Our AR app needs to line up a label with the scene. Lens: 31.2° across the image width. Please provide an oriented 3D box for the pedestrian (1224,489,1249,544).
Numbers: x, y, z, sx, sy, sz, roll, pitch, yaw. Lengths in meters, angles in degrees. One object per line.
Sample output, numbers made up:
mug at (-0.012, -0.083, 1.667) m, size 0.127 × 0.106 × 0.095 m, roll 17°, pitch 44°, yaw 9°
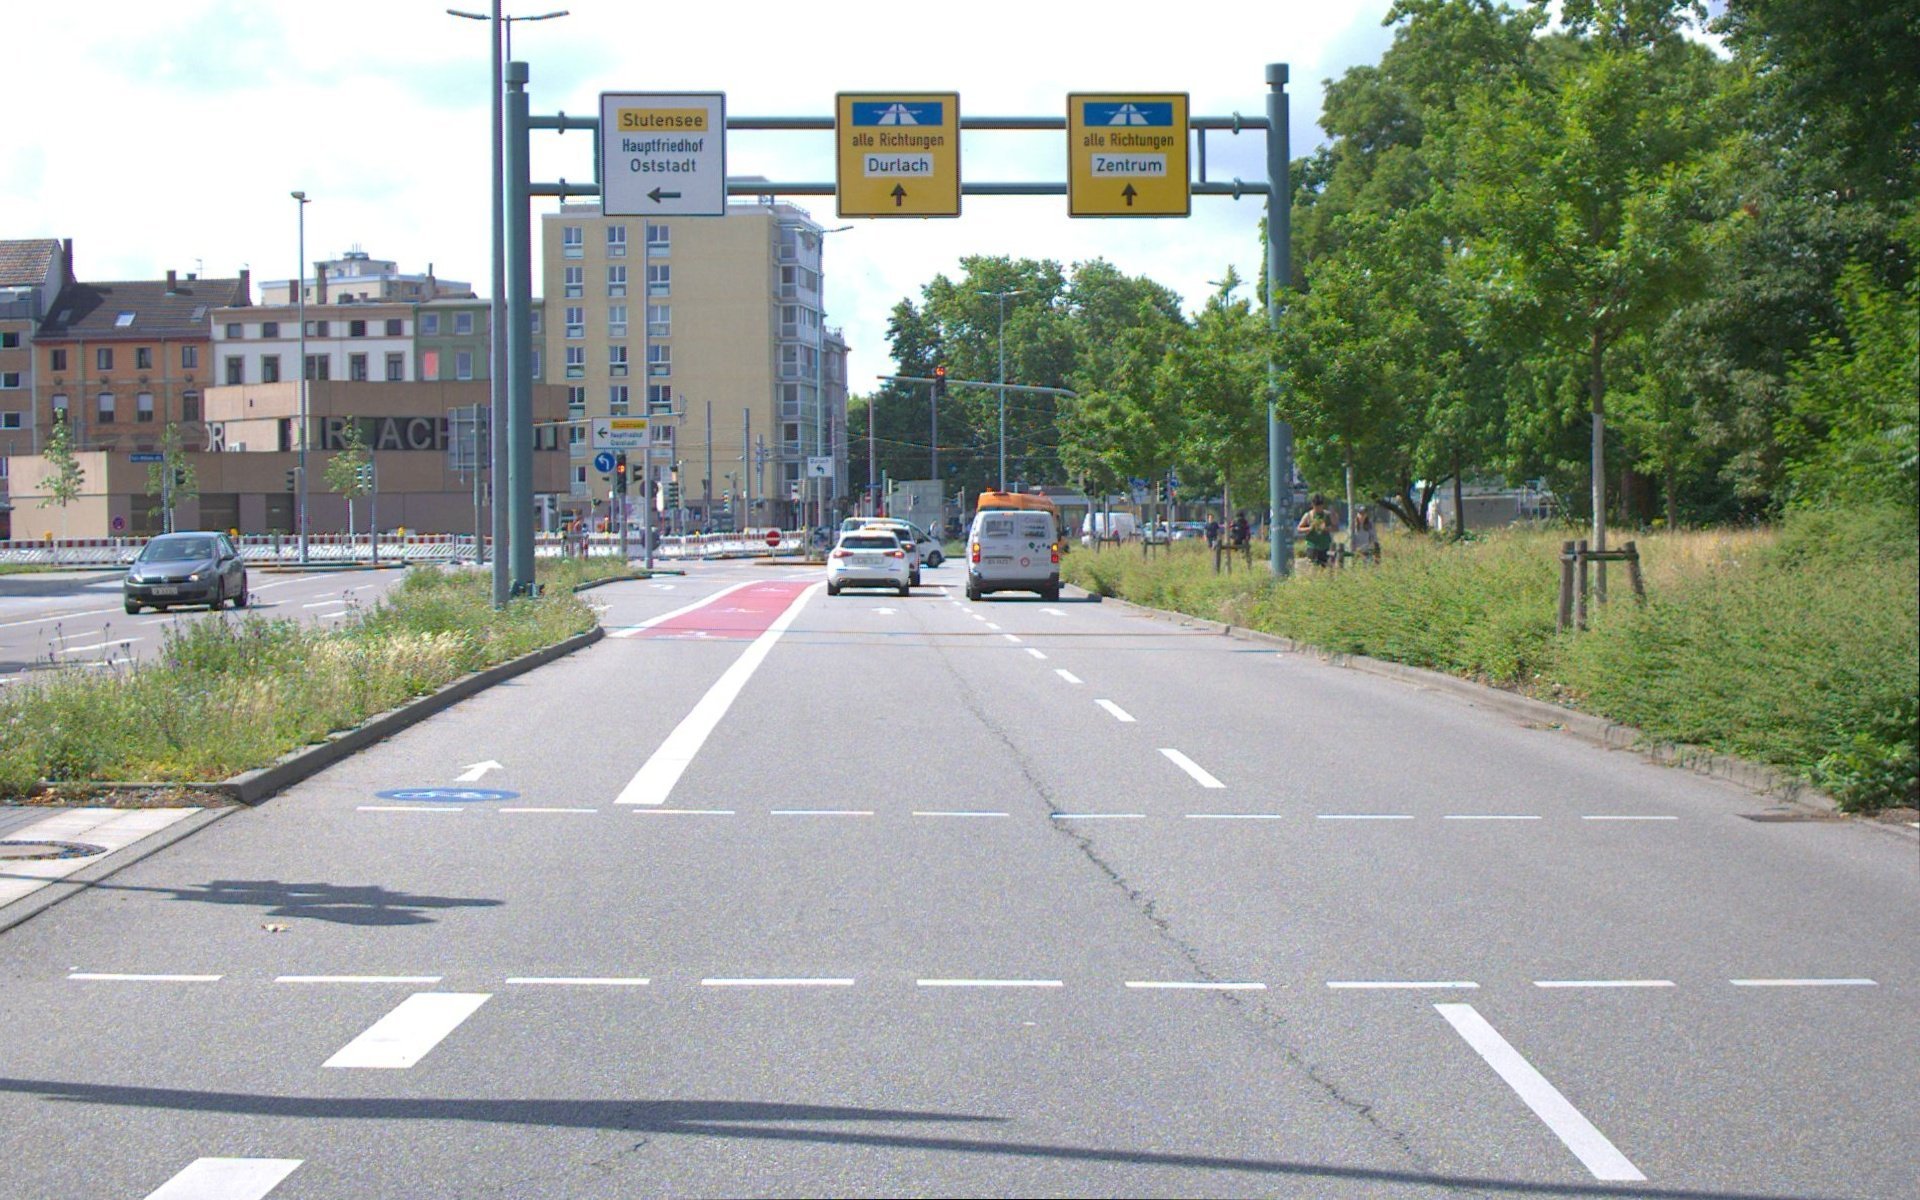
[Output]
pedestrian at (8.779, -2.654, 109.167) m, size 0.742 × 1.729 × 0.679 m, roll 0°, pitch 1°, yaw 2°

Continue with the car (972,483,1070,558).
car at (2.366, -3.044, 131.007) m, size 2.132 × 2.771 × 4.633 m, roll -1°, pitch 1°, yaw 23°

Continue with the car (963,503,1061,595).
car at (1.072, -1.108, 72.864) m, size 1.942 × 1.863 × 4.826 m, roll 0°, pitch 1°, yaw -1°

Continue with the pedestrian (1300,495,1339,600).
pedestrian at (6.210, -0.915, 59.407) m, size 0.567 × 1.795 × 0.639 m, roll 0°, pitch 1°, yaw -2°

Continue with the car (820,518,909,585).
car at (-2.093, -1.097, 76.307) m, size 1.904 × 1.419 × 4.385 m, roll 0°, pitch 1°, yaw -1°

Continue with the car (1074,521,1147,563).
car at (7.271, -2.817, 165.479) m, size 2.008 × 1.960 × 4.633 m, roll -1°, pitch 1°, yaw 23°

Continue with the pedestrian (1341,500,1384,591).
pedestrian at (6.983, -0.947, 59.655) m, size 0.623 × 1.575 × 0.708 m, roll 0°, pitch 1°, yaw -2°

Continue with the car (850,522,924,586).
car at (-1.833, -1.175, 86.830) m, size 1.791 × 1.534 × 4.011 m, roll 1°, pitch 1°, yaw -1°

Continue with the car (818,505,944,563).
car at (-2.744, -2.301, 120.100) m, size 3.988 × 1.809 × 1.999 m, roll 2°, pitch 1°, yaw -42°

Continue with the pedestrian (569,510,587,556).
pedestrian at (-14.341, -2.516, 129.018) m, size 0.525 × 1.727 × 0.623 m, roll 0°, pitch 1°, yaw 8°

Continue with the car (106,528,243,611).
car at (-14.517, -0.593, 63.731) m, size 1.700 × 1.440 × 4.146 m, roll -2°, pitch 1°, yaw -2°
